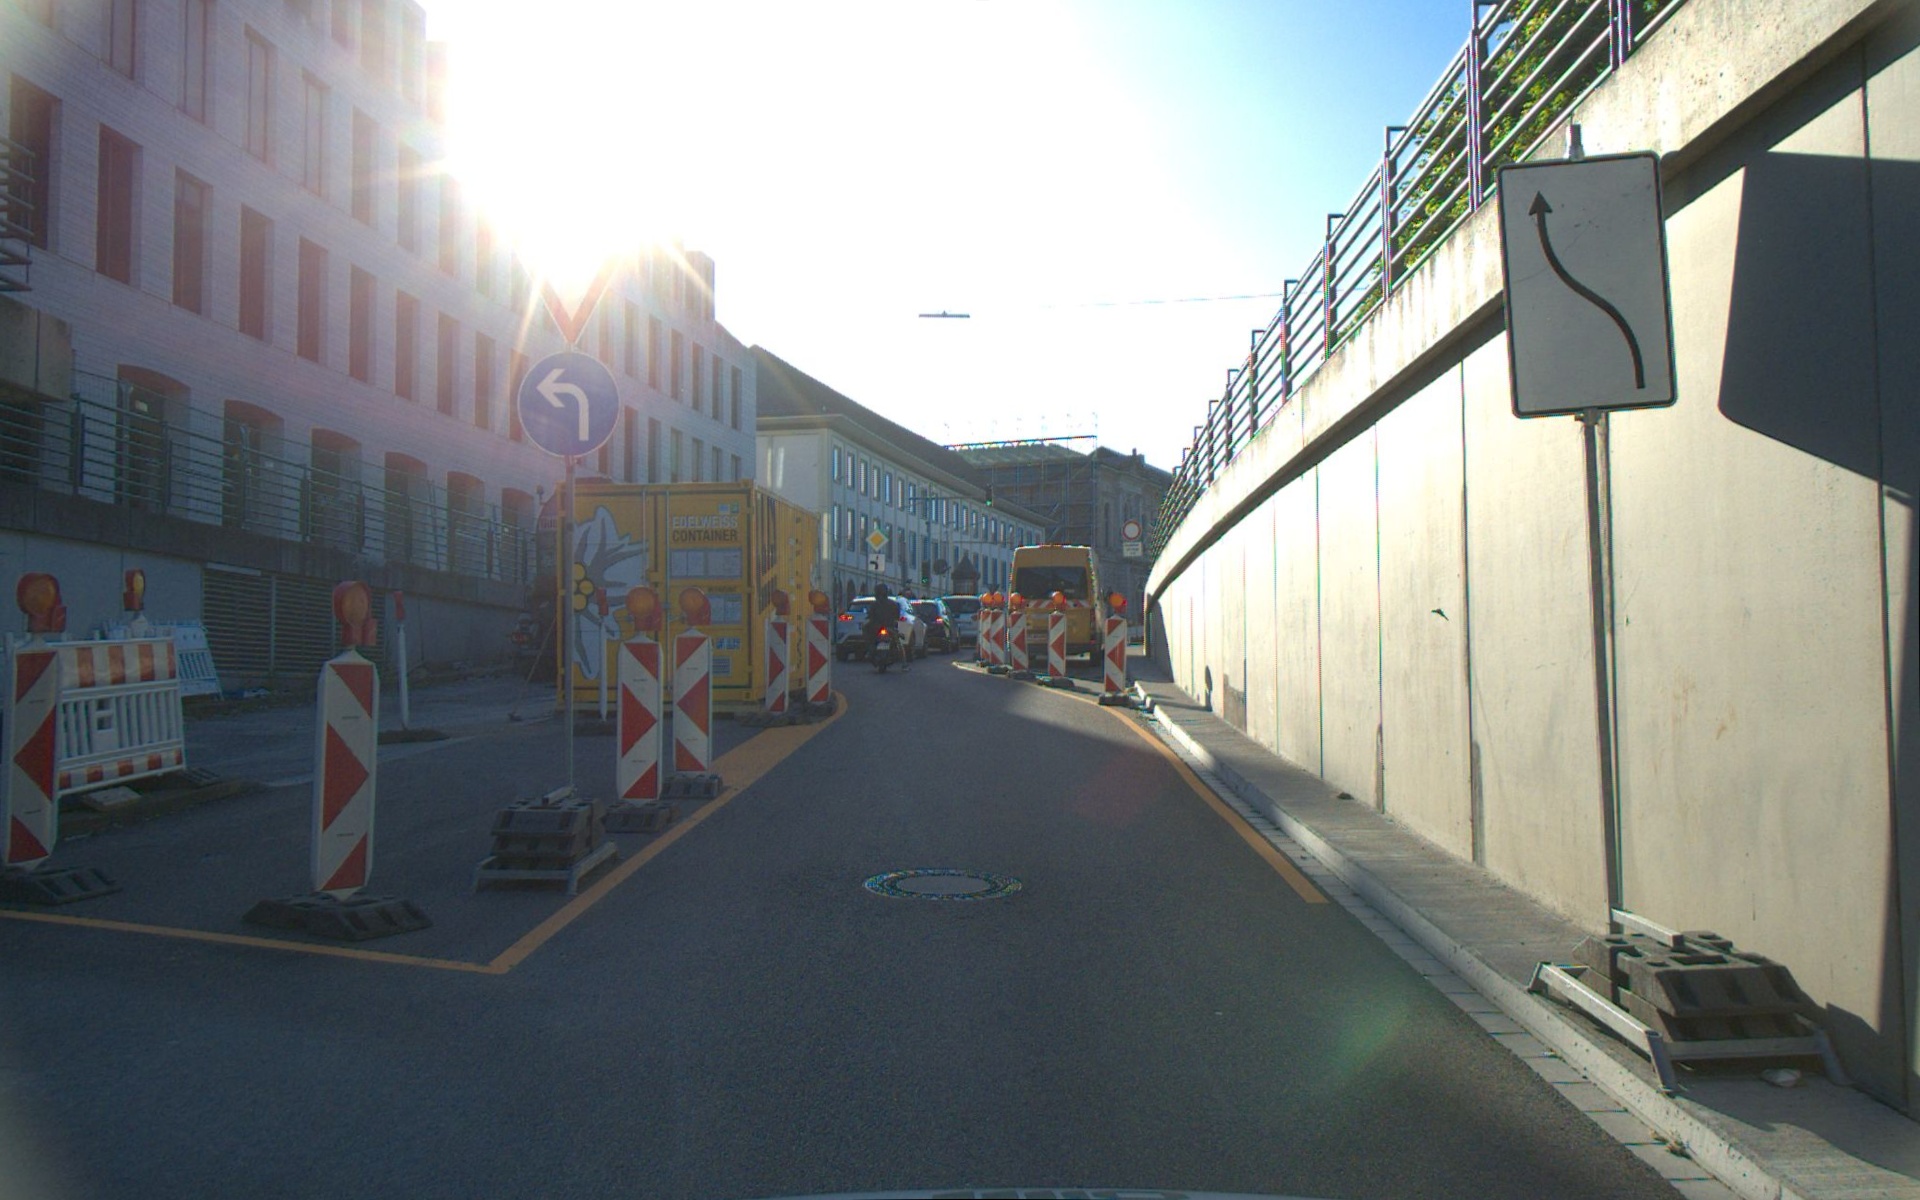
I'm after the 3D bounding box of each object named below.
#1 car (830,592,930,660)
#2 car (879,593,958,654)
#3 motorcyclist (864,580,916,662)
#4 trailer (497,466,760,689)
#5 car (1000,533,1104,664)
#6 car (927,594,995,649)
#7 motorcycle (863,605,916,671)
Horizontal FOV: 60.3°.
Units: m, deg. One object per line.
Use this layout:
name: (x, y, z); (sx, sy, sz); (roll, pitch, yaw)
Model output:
car: (-1.840, 0.578, 39.272); (1.820, 1.498, 4.003); (1, 0, 5)
car: (-1.103, 0.685, 45.734); (1.736, 1.578, 4.108); (-1, -2, 5)
motorcyclist: (-1.385, 0.396, 32.520); (0.935, 1.587, 1.237); (0, 0, -6)
trailer: (-6.362, -0.362, 33.397); (2.587, 3.732, 8.753); (-4, -1, 5)
car: (2.196, 0.002, 37.533); (2.067, 2.671, 6.991); (-1, -1, 5)
car: (0.077, 0.690, 54.814); (1.765, 1.751, 4.166); (0, 0, 7)
motorcycle: (-1.413, 0.716, 32.558); (0.888, 1.204, 2.576); (0, 1, -6)
